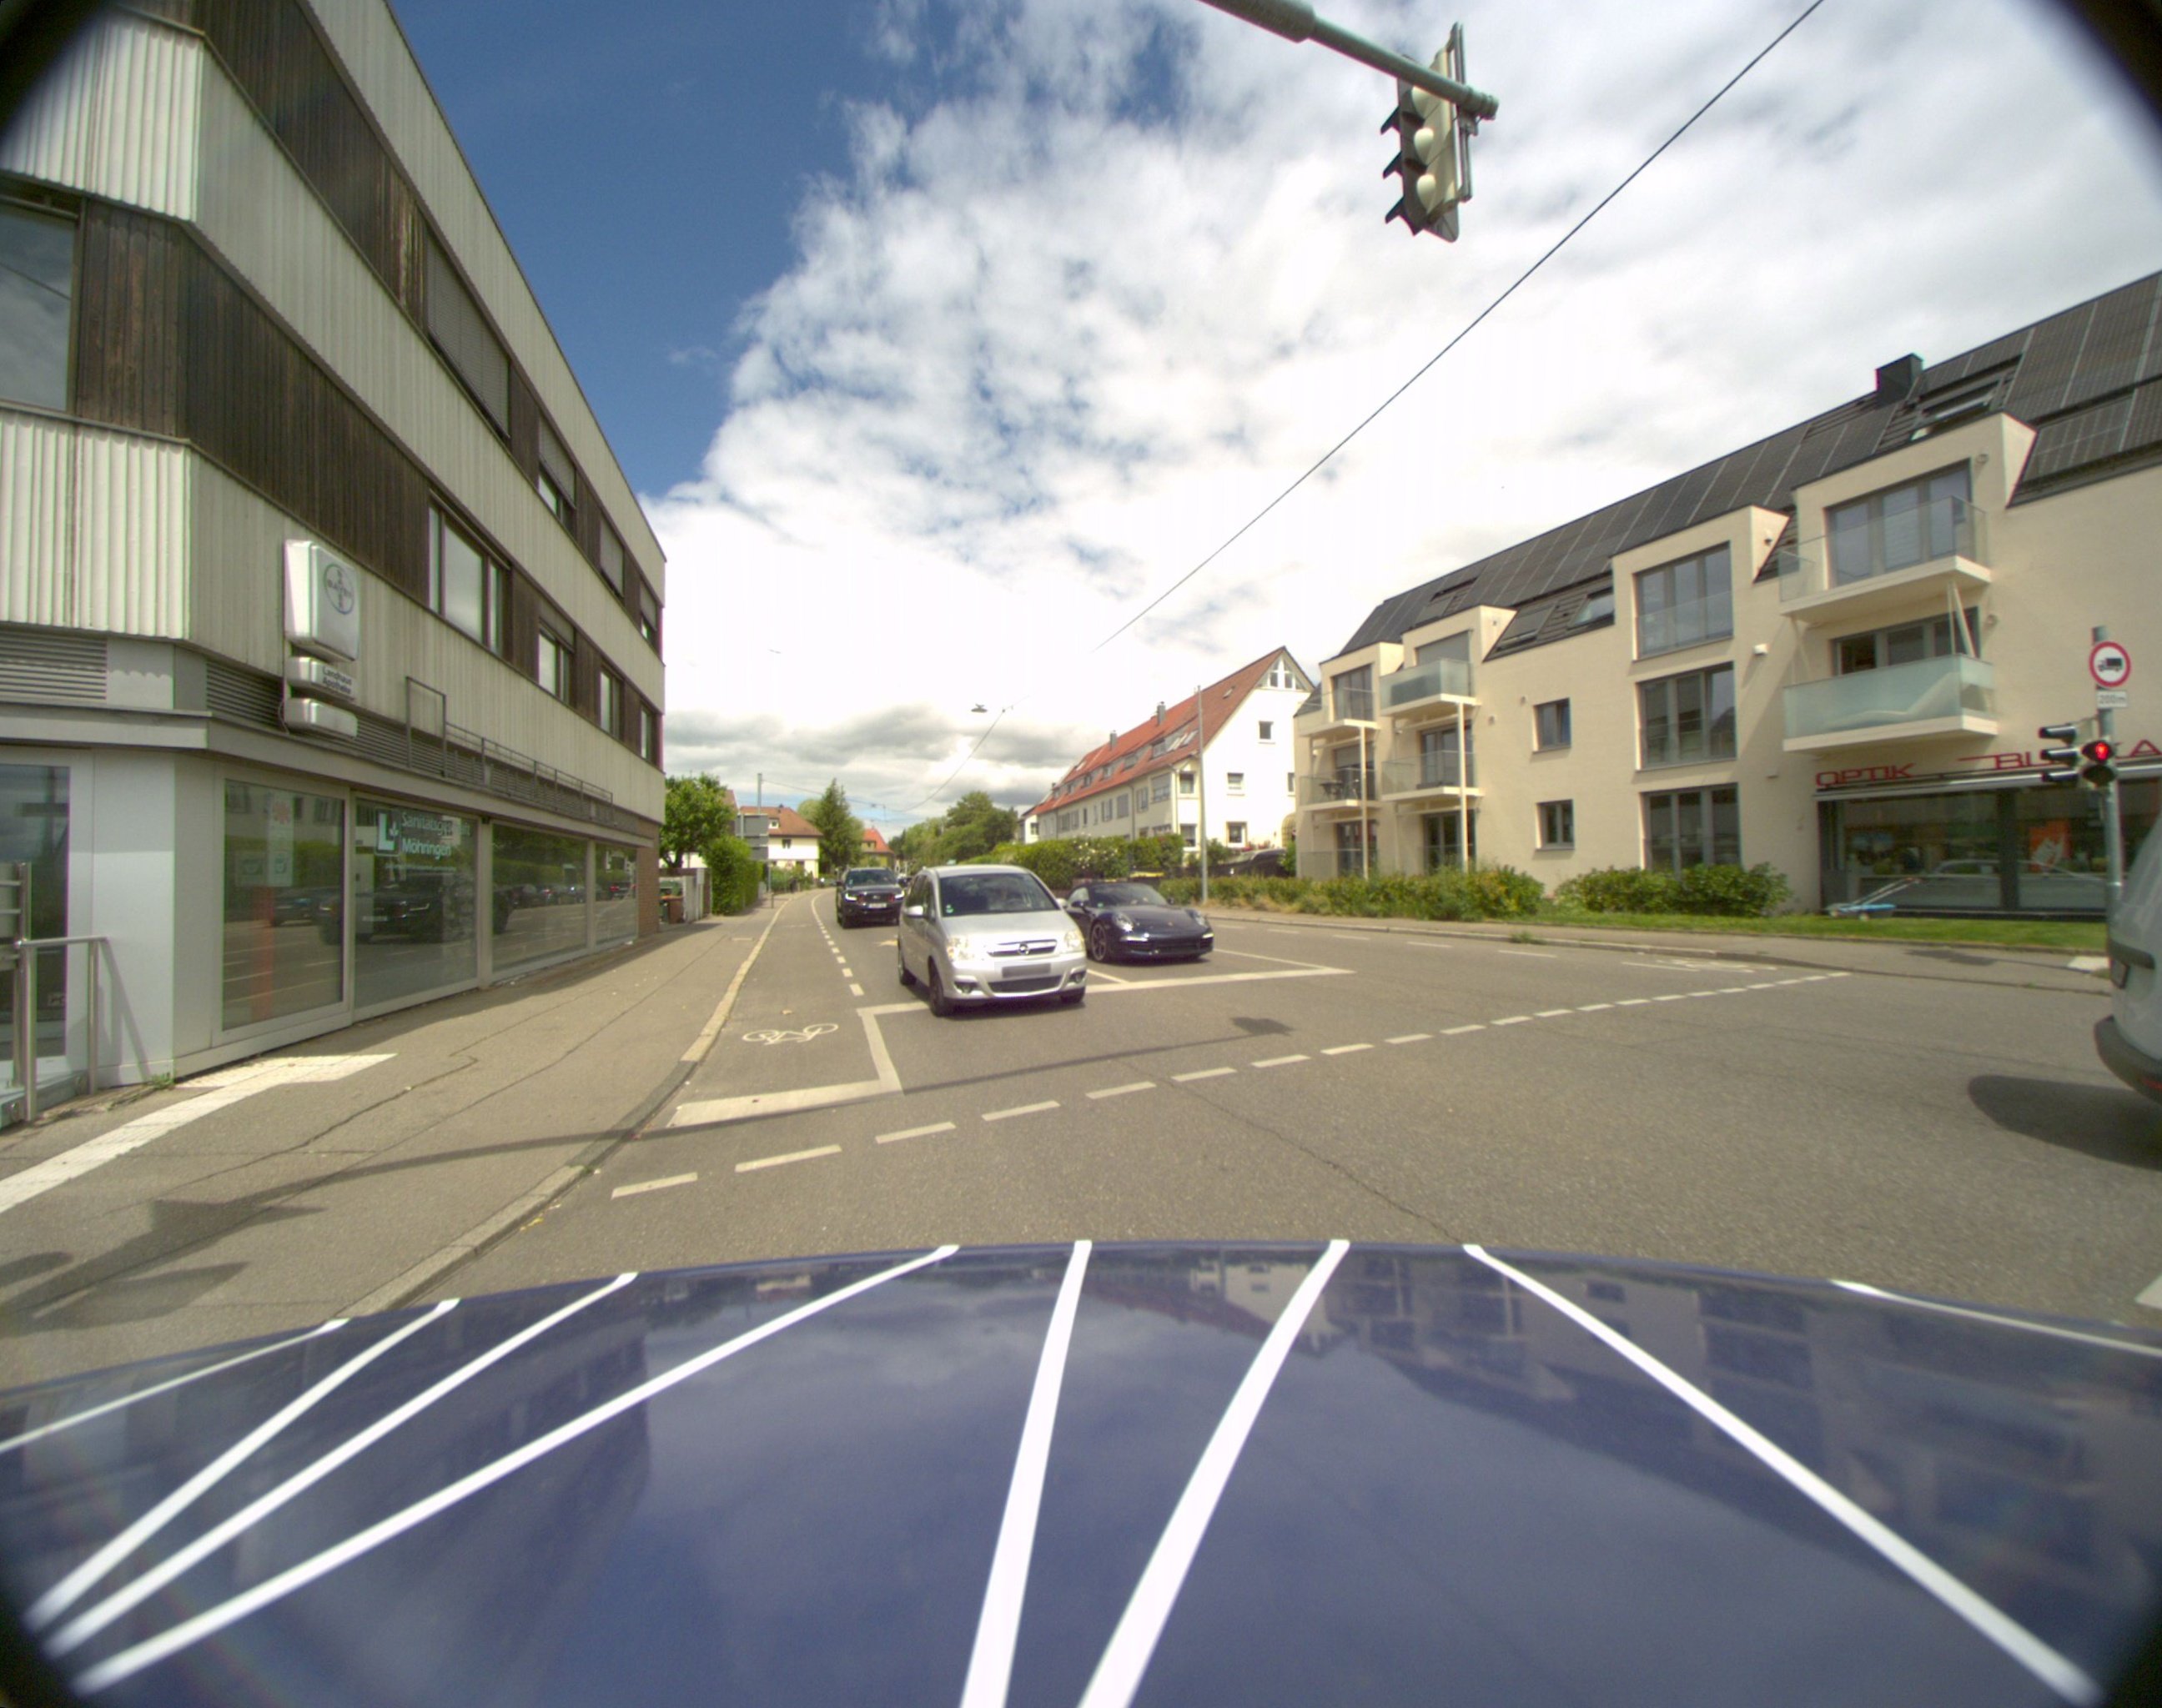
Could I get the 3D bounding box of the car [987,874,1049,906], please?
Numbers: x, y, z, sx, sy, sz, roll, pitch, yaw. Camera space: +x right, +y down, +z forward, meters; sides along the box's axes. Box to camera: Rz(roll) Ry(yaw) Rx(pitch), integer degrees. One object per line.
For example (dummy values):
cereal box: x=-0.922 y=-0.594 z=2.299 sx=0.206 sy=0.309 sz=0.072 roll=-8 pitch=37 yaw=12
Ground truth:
car: x=-3.244 y=1.775 z=38.407 sx=1.822 sy=1.492 sz=4.446 roll=-2 pitch=-1 yaw=-23

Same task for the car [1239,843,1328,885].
car: x=10.582 y=0.518 z=39.811 sx=4.003 sy=2.001 sz=1.997 roll=-2 pitch=-1 yaw=-20

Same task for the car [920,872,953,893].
car: x=-12.214 y=2.356 z=64.137 sx=2.002 sy=1.623 sz=4.230 roll=-2 pitch=-1 yaw=-20

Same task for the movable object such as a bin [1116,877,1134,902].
movable object such as a bin: x=1.942 y=1.567 z=33.602 sx=0.522 sy=1.059 sz=0.658 roll=-2 pitch=-1 yaw=31

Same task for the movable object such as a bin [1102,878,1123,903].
movable object such as a bin: x=1.382 y=1.623 z=33.602 sx=0.764 sy=1.059 sz=0.692 roll=-2 pitch=0 yaw=-13

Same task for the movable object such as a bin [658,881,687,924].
movable object such as a bin: x=-14.135 y=1.679 z=26.315 sx=0.811 sy=1.446 sz=0.478 roll=-2 pitch=0 yaw=-24

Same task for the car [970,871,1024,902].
car: x=-4.840 y=1.827 z=43.345 sx=2.002 sy=1.623 sz=4.446 roll=-2 pitch=-1 yaw=-20

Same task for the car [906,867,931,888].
car: x=-15.951 y=2.305 z=74.397 sx=2.001 sy=1.903 sz=4.064 roll=-2 pitch=-1 yaw=-18

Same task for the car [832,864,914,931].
car: x=-6.706 y=1.298 z=24.104 sx=1.890 sy=1.838 sz=5.212 roll=-2 pitch=-1 yaw=-22

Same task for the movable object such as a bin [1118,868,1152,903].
movable object such as a bin: x=2.321 y=1.331 z=32.786 sx=1.094 sy=1.438 sz=0.979 roll=-2 pitch=-1 yaw=-20

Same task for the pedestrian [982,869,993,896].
pedestrian: x=-6.410 y=1.954 z=52.011 sx=0.534 sy=1.805 sz=0.511 roll=-2 pitch=0 yaw=-24

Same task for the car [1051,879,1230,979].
car: x=0.836 y=1.173 z=13.280 sx=1.817 sy=1.355 sz=4.040 roll=-2 pitch=-1 yaw=-15

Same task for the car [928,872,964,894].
car: x=-10.436 y=2.221 z=58.658 sx=2.002 sy=1.623 sz=4.230 roll=-2 pitch=-1 yaw=-20

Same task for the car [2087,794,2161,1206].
car: x=6.756 y=0.551 z=2.262 sx=1.825 sy=1.801 sz=4.407 roll=-2 pitch=-1 yaw=-40

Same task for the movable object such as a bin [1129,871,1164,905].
movable object such as a bin: x=2.711 y=1.408 z=31.577 sx=1.094 sy=1.354 sz=0.979 roll=-2 pitch=-1 yaw=-20

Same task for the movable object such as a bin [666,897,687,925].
movable object such as a bin: x=-13.580 y=1.909 z=25.482 sx=0.519 sy=0.916 sz=0.478 roll=-2 pitch=-1 yaw=-38

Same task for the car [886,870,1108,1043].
car: x=-1.264 y=1.028 z=9.361 sx=1.777 sy=1.566 sz=3.995 roll=-2 pitch=-1 yaw=-20
